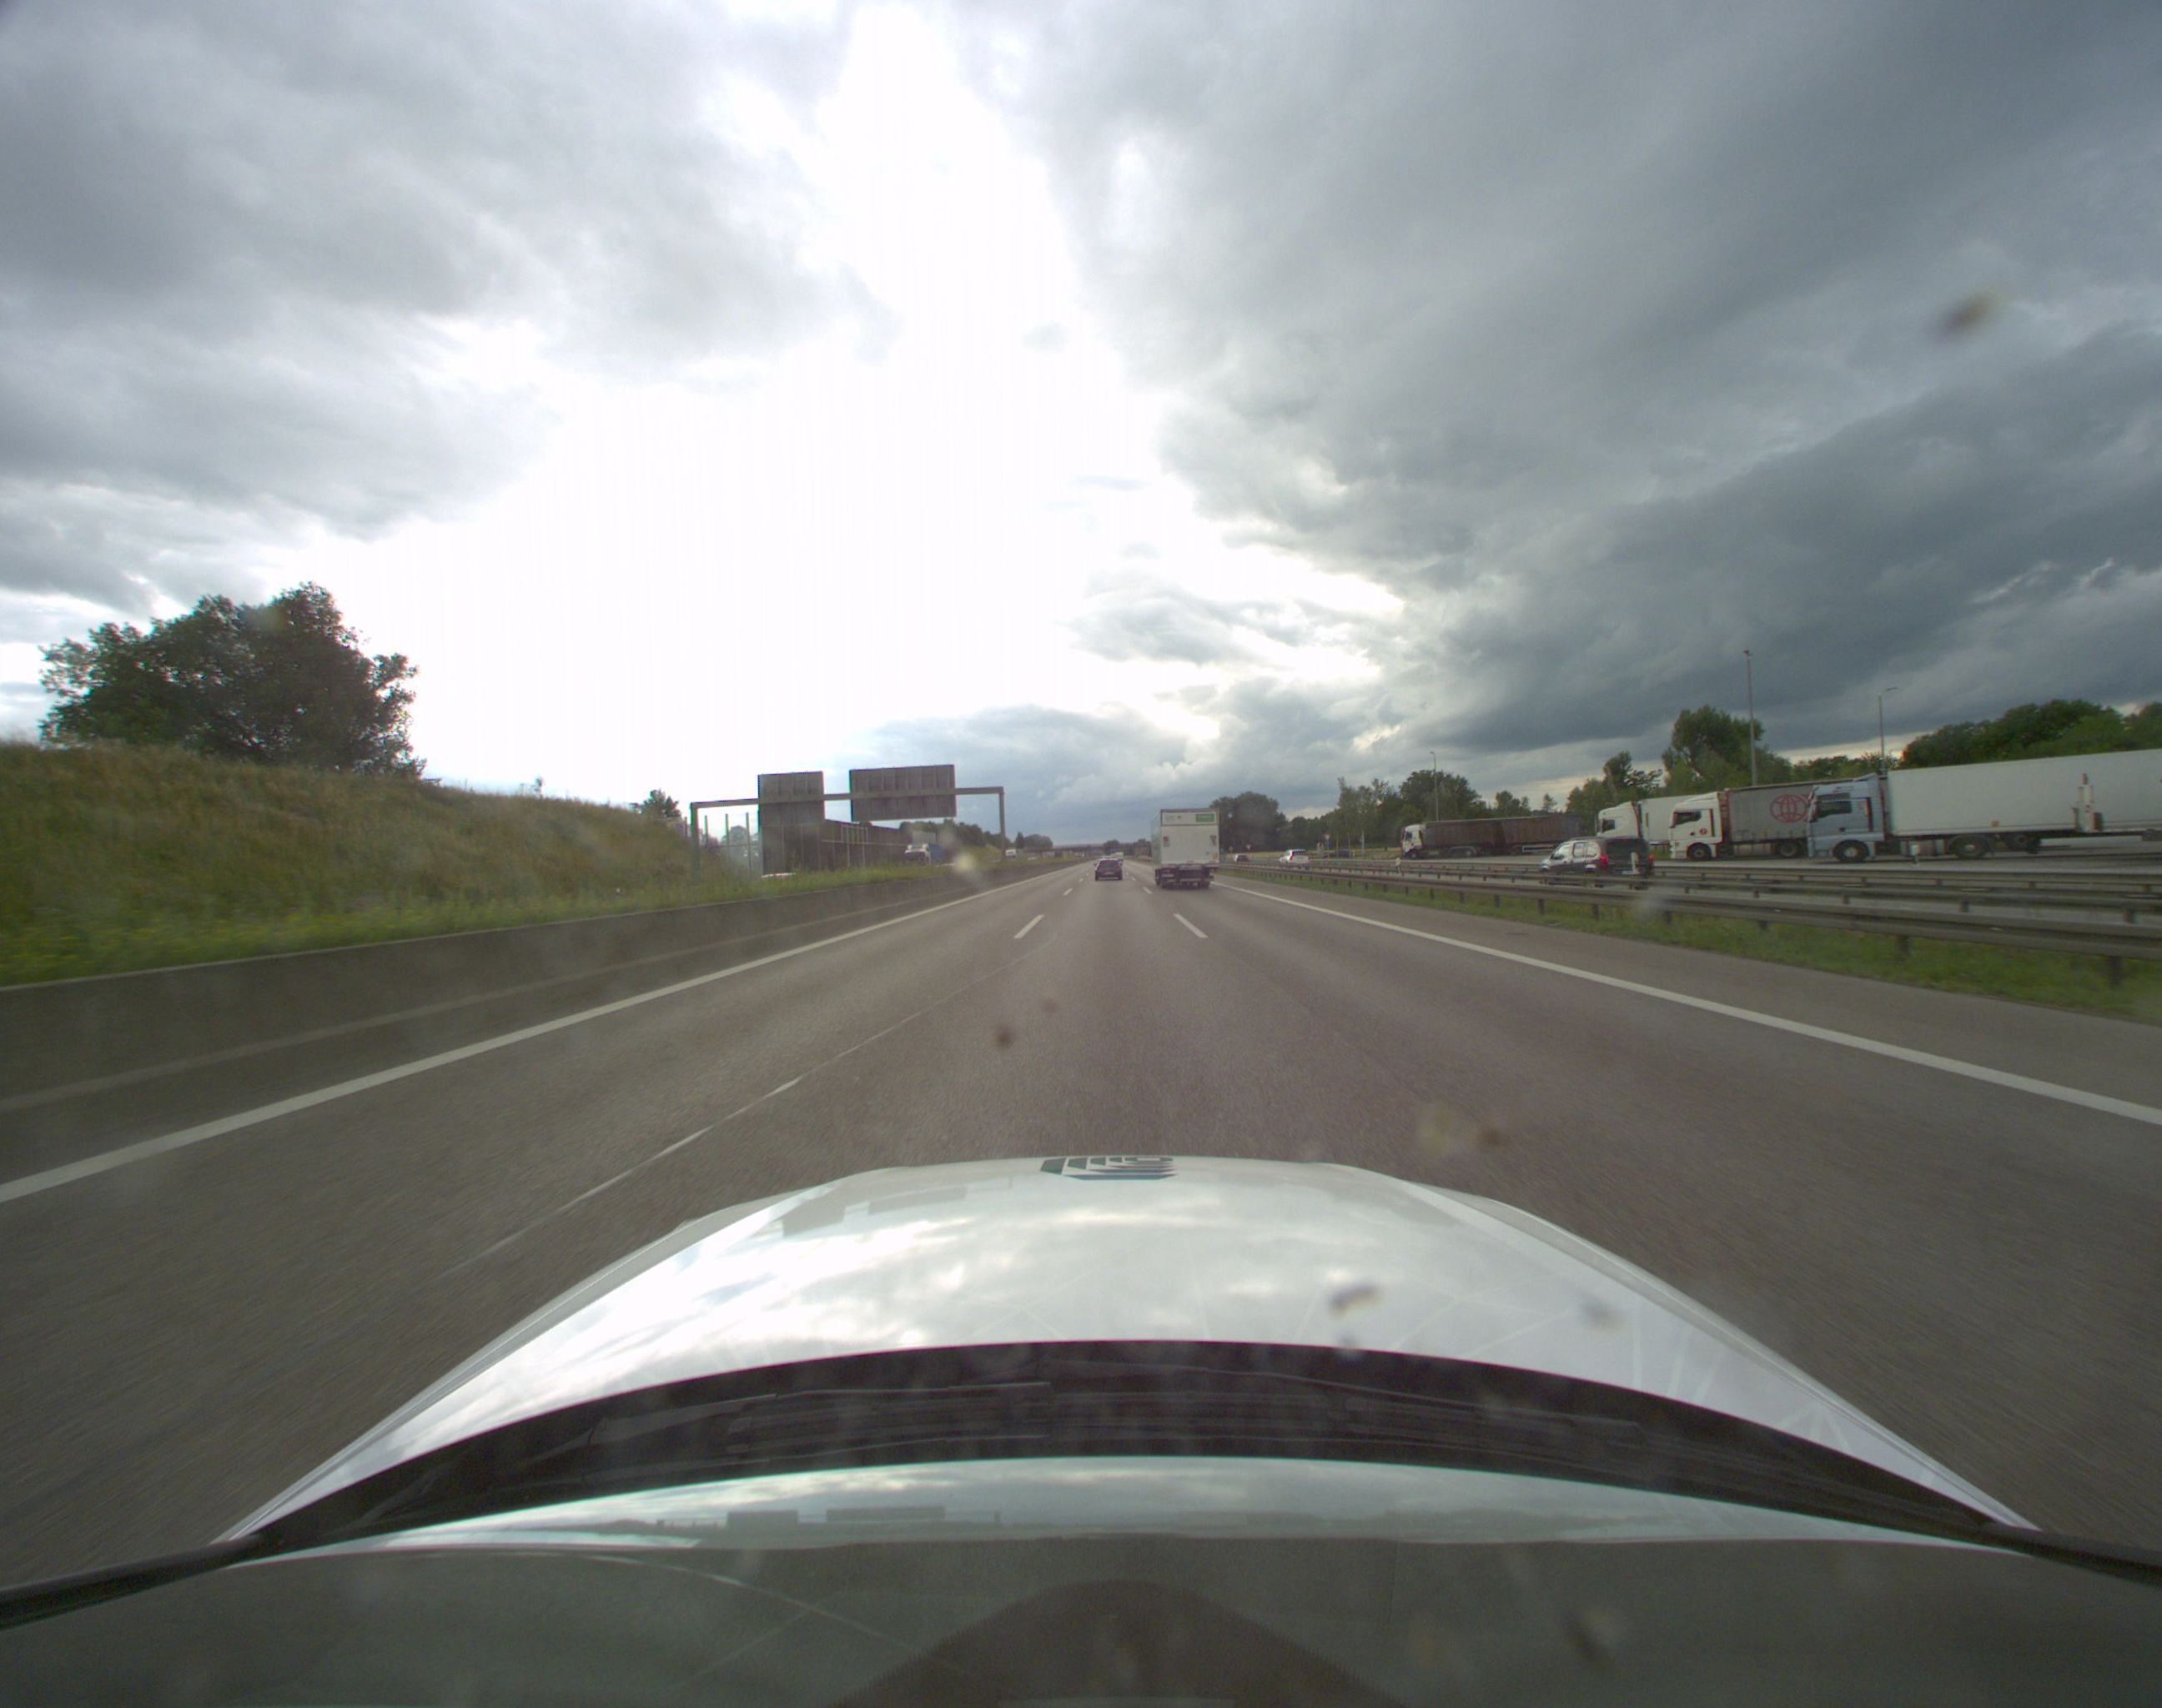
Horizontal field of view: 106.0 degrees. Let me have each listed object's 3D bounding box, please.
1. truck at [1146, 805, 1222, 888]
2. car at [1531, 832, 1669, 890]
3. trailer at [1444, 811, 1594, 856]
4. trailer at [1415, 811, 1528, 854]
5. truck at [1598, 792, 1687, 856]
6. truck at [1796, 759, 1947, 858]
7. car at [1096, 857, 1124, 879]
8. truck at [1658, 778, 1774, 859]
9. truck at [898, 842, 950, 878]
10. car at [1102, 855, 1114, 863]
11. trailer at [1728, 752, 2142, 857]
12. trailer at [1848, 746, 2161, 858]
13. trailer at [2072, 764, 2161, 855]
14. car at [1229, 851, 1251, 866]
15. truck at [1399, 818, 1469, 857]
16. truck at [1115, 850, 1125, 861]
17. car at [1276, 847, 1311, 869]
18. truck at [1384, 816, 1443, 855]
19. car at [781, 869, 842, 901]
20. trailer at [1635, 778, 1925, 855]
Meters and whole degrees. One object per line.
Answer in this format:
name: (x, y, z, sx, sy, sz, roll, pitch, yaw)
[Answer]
truck: (4.735, -0.301, 39.109, 2.760, 3.504, 9.065, -1, 0, 2)
car: (17.458, 0.224, 27.719, 1.821, 1.757, 4.596, -2, 0, 2)
trailer: (43.668, -1.973, 81.863, 2.763, 3.841, 13.050, -2, 0, -41)
trailer: (42.437, -2.222, 89.003, 2.612, 4.225, 10.976, 0, -1, -42)
truck: (38.428, -1.969, 55.817, 2.627, 4.135, 4.480, 0, -1, -40)
truck: (35.650, -1.887, 36.836, 2.656, 4.131, 4.736, 0, -1, -44)
car: (1.893, 0.889, 53.624, 1.737, 1.389, 4.002, -1, 0, 2)
truck: (36.207, -1.908, 46.508, 2.525, 4.327, 4.845, 0, -1, -43)
truck: (-17.411, 0.622, 91.116, 3.247, 3.603, 10.938, -2, 0, 1)
car: (4.432, 0.860, 134.515, 1.986, 1.298, 4.001, -3, -1, 1)
trailer: (41.455, -2.088, 40.768, 2.491, 4.396, 13.973, 0, -1, -42)
trailer: (40.263, -1.948, 32.026, 2.673, 4.085, 14.516, 0, -1, -44)
trailer: (41.735, -1.586, 25.365, 3.615, 3.111, 13.583, 0, -1, -42)
car: (19.862, 0.515, 101.718, 1.821, 1.757, 5.067, -2, 0, 2)
truck: (38.152, -1.762, 88.157, 2.772, 3.850, 6.316, -2, 0, -42)
truck: (11.391, 0.510, 237.230, 2.700, 2.964, 12.450, 0, 0, 2)
car: (18.755, 0.348, 72.035, 1.821, 1.757, 5.067, -2, 0, 2)
truck: (38.225, -2.069, 93.733, 2.606, 4.254, 5.625, 0, -1, -42)
car: (-11.485, 1.317, 34.846, 1.482, 1.207, 2.926, -2, 0, 2)
trailer: (42.696, -2.034, 50.636, 2.627, 4.074, 13.385, 0, -1, -40)
